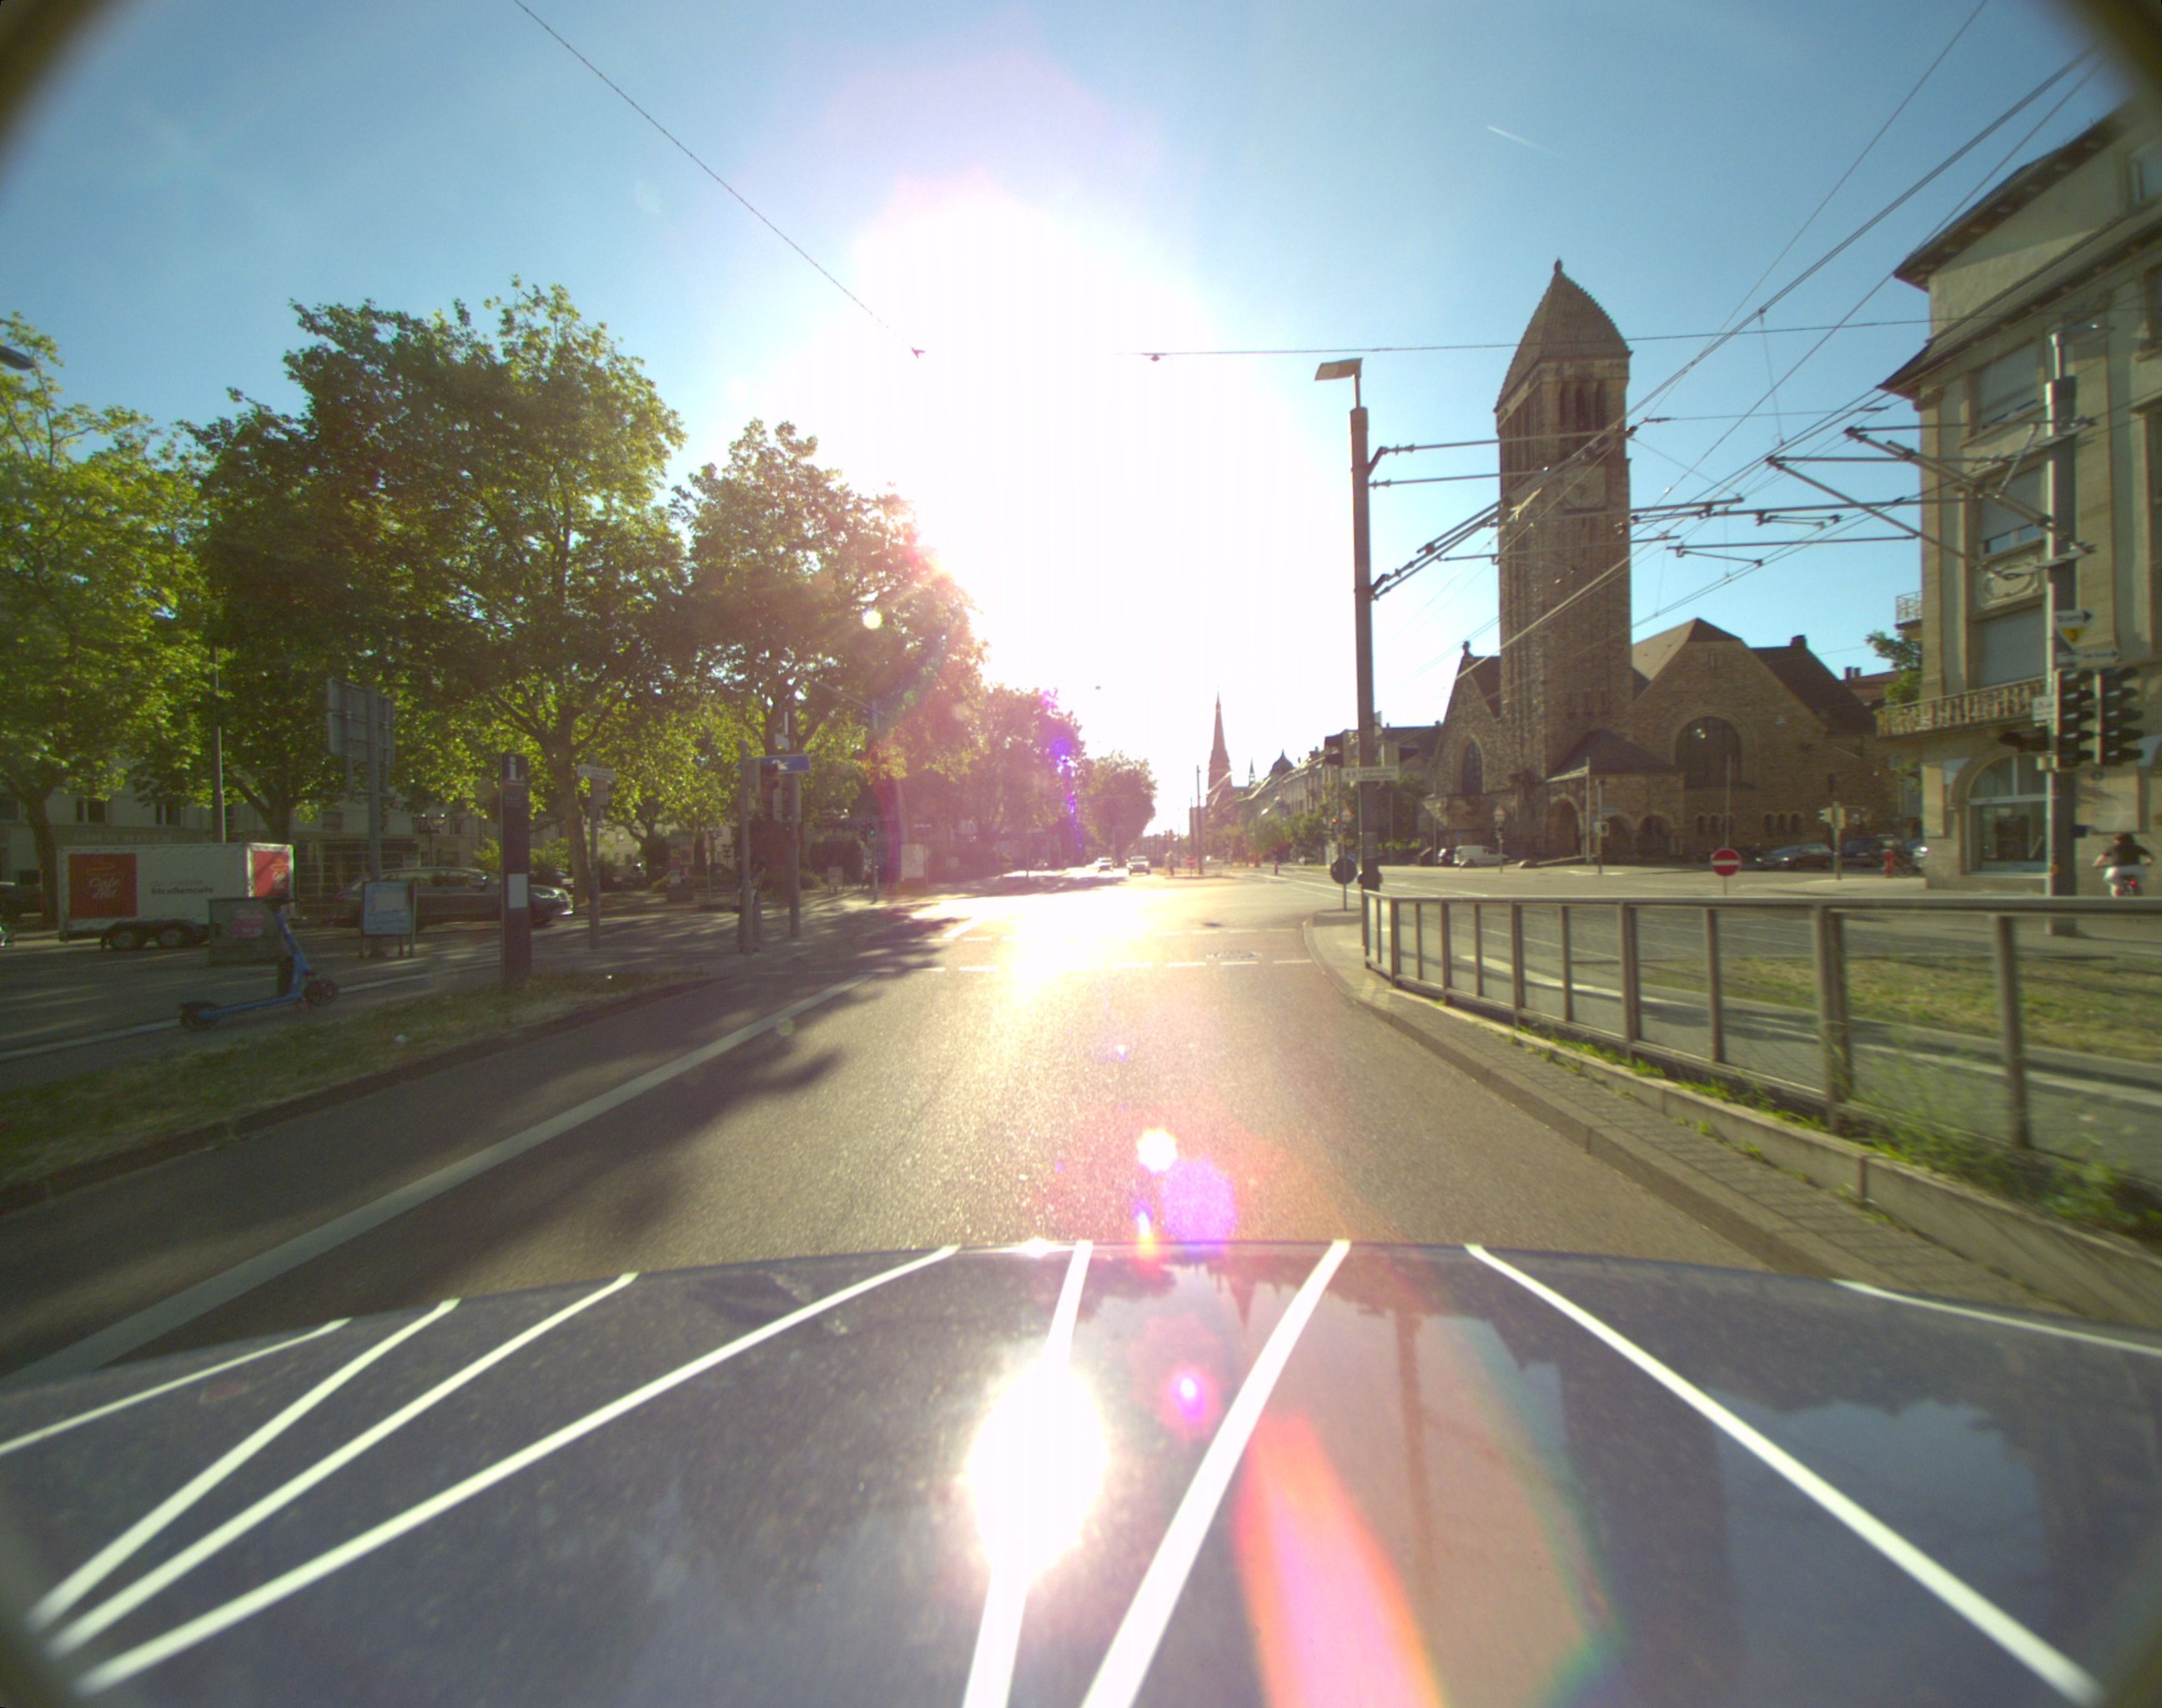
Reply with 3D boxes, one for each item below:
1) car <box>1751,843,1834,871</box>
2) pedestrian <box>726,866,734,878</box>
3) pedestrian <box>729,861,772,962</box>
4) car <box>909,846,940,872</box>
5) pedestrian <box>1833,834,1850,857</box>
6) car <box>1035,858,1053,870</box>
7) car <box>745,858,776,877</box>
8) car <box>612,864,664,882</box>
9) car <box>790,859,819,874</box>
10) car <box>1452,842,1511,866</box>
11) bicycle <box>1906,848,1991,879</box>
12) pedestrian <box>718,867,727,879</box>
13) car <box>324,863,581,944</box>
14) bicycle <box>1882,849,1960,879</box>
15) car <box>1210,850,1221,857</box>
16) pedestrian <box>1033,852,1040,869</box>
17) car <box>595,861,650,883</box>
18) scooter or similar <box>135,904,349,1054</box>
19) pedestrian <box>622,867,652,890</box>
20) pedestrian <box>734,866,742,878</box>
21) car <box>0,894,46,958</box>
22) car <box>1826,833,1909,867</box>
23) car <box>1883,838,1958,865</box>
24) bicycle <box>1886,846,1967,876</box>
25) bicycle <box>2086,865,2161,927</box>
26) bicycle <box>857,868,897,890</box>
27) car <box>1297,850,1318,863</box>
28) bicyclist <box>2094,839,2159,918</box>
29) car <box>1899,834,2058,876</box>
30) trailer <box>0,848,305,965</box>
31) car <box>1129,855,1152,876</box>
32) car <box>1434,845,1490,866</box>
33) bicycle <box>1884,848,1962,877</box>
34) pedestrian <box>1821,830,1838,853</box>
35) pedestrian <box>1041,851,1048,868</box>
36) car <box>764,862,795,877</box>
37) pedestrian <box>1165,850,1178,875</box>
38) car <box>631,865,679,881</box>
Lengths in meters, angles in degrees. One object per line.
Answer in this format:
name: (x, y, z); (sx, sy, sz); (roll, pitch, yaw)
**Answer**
car: (41.850, 0.189, 44.691); (4.289, 1.411, 1.839); (-3, 0, -21)
pedestrian: (-36.475, 1.913, 79.011); (0.632, 1.219, 0.539); (-3, 1, -14)
pedestrian: (-5.532, 0.943, 12.742); (0.429, 1.629, 0.613); (-2, 0, -5)
car: (-17.329, 0.559, 84.476); (1.998, 2.726, 4.715); (-3, 0, 4)
pedestrian: (54.176, -0.614, 54.103); (0.468, 1.611, 0.651); (-3, 1, -10)
car: (-4.449, 1.181, 91.161); (1.720, 1.319, 3.754); (-3, 0, 3)
car: (-35.994, 1.508, 85.442); (1.710, 2.015, 4.180); (-2, 0, 0)
car: (-44.366, 1.914, 76.192); (3.996, 1.513, 1.922); (-3, 0, 3)
car: (-30.987, 1.403, 85.190); (1.710, 1.650, 4.180); (-2, -1, 0)
car: (34.523, -0.035, 65.496); (4.023, 1.795, 1.870); (-3, 1, 3)
bicycle: (34.260, 0.379, 30.058); (0.529, 1.184, 2.123); (-4, 0, -24)
pedestrian: (-37.487, 1.969, 79.417); (0.631, 1.219, 0.539); (-3, 1, -9)
car: (-15.740, 1.186, 19.366); (4.583, 1.630, 1.933); (-3, 0, -19)
bicycle: (35.164, 0.413, 31.848); (0.554, 1.184, 2.123); (-4, 0, -24)
car: (29.344, -0.157, 166.035); (1.998, 1.419, 4.555); (0, 0, 4)
pedestrian: (-4.785, 0.688, 81.743); (0.631, 1.833, 0.540); (-3, 1, 1)
car: (-44.490, 1.734, 73.737); (3.996, 1.905, 2.048); (-3, 1, 3)
scooter or similar: (-8.216, 1.170, 7.515); (0.561, 1.250, 1.291); (0, 1, 11)
pedestrian: (-25.132, 1.392, 43.052); (1.140, 1.233, 0.790); (-3, 1, 2)
pedestrian: (-35.793, 1.874, 79.230); (0.632, 1.219, 0.539); (-3, 1, -14)
car: (-25.544, 1.698, 15.771); (4.441, 1.353, 1.933); (-3, 0, -19)
car: (49.663, -0.254, 47.989); (4.493, 1.857, 1.997); (-3, 1, -21)
car: (55.335, -0.175, 50.091); (4.344, 1.494, 1.839); (-3, 0, -21)
bicycle: (34.553, 0.291, 31.084); (0.529, 1.184, 2.123); (-4, 0, -24)
bicycle: (18.756, 0.762, 13.649); (1.828, 1.047, 0.534); (3, -2, -27)
bicycle: (-10.198, 1.242, 38.036); (1.827, 1.047, 0.534); (-2, 0, -24)
car: (30.046, 0.329, 100.945); (1.786, 1.521, 4.215); (-3, 0, 4)
bicyclist: (18.867, 0.446, 13.709); (1.020, 1.363, 0.534); (3, -2, -27)
car: (39.489, 0.099, 33.598); (3.990, 1.574, 2.005); (-3, -4, 28)
trailer: (-21.316, 1.108, 17.387); (4.519, 2.359, 1.911); (-2, 0, -19)
car: (4.739, 0.902, 61.080); (1.636, 1.491, 4.000); (-3, 0, 3)
car: (34.247, 0.105, 68.387); (4.040, 1.621, 1.769); (-3, 0, 3)
bicycle: (35.866, 0.360, 32.407); (0.529, 1.184, 2.123); (-4, 0, -24)
pedestrian: (54.013, -0.895, 54.844); (0.468, 1.611, 0.651); (-5, 1, -8)
pedestrian: (-3.959, 0.590, 81.758); (0.631, 1.833, 0.540); (-3, 1, 1)
car: (-33.655, 1.714, 85.008); (1.710, 1.493, 4.180); (-2, -1, 0)
pedestrian: (6.077, 0.562, 51.024); (0.678, 1.611, 0.925); (-3, 1, 1)
car: (-44.174, 1.925, 78.805); (3.996, 1.400, 1.779); (-3, 0, 3)
